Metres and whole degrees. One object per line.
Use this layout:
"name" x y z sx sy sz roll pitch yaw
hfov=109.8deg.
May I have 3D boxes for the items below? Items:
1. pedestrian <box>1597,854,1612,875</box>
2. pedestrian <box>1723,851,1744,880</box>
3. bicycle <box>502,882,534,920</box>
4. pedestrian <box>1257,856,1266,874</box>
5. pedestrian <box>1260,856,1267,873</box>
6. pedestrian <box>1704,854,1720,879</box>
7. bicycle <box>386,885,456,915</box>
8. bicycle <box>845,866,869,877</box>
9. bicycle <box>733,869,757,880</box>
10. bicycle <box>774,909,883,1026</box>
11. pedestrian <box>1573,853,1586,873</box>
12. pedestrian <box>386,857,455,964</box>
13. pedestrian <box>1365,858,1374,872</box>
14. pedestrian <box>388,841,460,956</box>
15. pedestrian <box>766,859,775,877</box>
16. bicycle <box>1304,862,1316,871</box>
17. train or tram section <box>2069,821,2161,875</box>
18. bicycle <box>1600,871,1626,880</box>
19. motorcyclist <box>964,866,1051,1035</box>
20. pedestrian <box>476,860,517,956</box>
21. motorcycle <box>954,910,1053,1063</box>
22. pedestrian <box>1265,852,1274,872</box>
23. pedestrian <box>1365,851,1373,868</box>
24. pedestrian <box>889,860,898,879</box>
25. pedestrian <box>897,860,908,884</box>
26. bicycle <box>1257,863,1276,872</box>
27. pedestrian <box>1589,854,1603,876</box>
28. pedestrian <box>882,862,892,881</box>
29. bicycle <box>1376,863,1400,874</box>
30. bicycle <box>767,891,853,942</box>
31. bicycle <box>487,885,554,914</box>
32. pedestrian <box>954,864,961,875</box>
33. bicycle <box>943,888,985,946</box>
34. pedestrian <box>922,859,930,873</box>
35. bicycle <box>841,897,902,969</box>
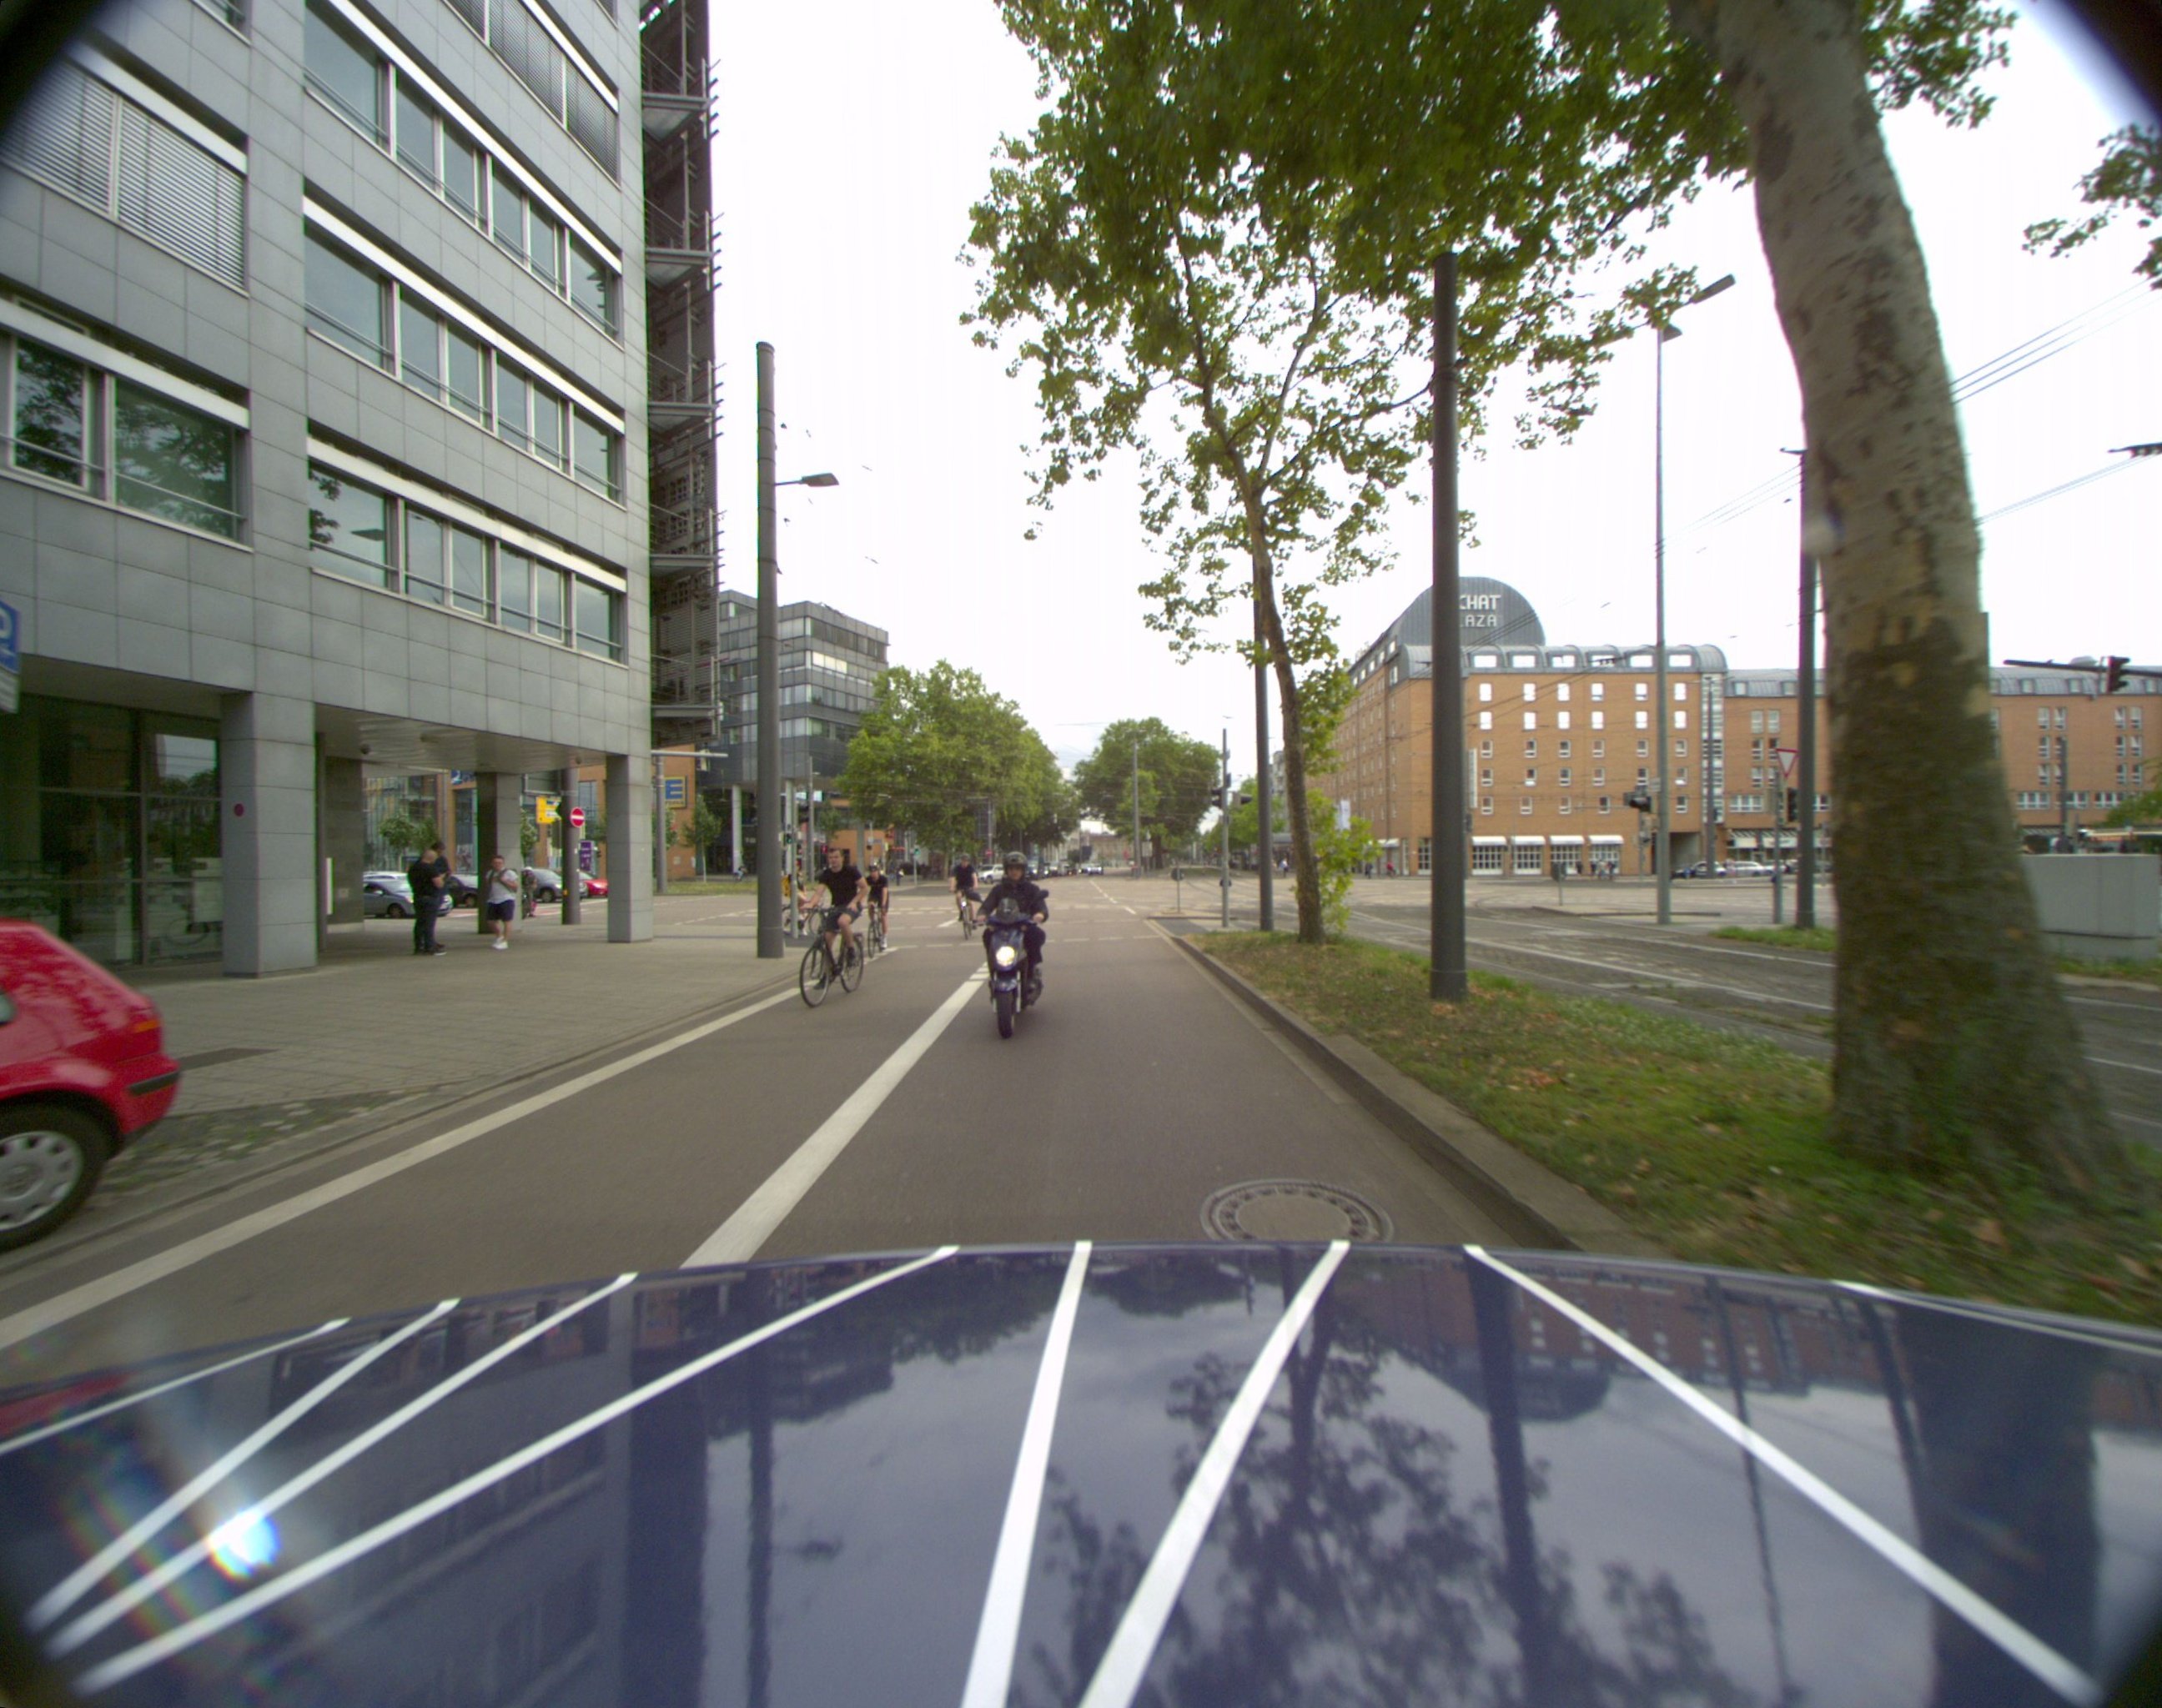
"pedestrian" 41.844 0.828 60.742 0.578 1.722 0.750 0 1 -6
"pedestrian" 39.662 0.696 46.193 0.578 1.722 0.751 0 1 -1
"bicycle" -19.515 1.593 26.327 0.662 1.132 2.432 -2 3 -41
"pedestrian" 17.952 1.084 75.623 0.684 1.696 0.534 0 1 -8
"pedestrian" 18.557 1.062 77.213 0.564 1.696 0.534 0 1 -8
"pedestrian" 45.002 0.879 54.197 0.632 1.722 0.578 -1 1 -10
"bicycle" -25.385 1.757 29.234 2.218 1.050 0.750 0 2 11
"bicycle" -20.673 1.633 70.221 2.002 1.005 0.638 0 0 8
"bicycle" -31.218 1.871 70.547 2.002 1.005 0.638 0 1 8
"bicycle" -3.009 1.305 9.280 0.595 1.132 2.091 0 0 1
"pedestrian" 41.817 0.756 63.768 0.578 1.721 0.751 -1 0 -6
"pedestrian" -10.874 0.915 12.532 0.546 1.716 0.644 0 -1 12
"pedestrian" 29.455 1.126 77.675 0.536 1.498 0.648 -1 1 -34
"pedestrian" -11.752 0.797 13.611 0.603 2.001 0.676 0 -3 7
"pedestrian" -31.517 1.417 77.119 0.627 1.855 0.671 0 0 -34
"bicycle" 25.318 1.377 83.969 0.659 0.931 1.892 0 1 -4
"train or tram section" 71.232 -0.401 49.899 9.602 3.430 2.577 0 0 -1
"bicycle" 45.979 1.848 65.640 1.796 0.777 0.640 0 1 -2
"motorcyclist" -0.692 0.891 7.442 0.761 1.510 1.017 0 1 -1
"pedestrian" -10.663 0.966 13.875 0.557 1.716 0.494 1 -1 -36
"motorcycle" -0.685 1.186 7.445 0.769 1.101 2.207 0 1 -1
"pedestrian" 18.228 0.745 73.357 0.693 1.940 0.534 0 1 -1
"pedestrian" 27.723 0.537 73.151 0.563 1.696 0.535 0 1 1
"pedestrian" -17.652 1.473 71.656 0.587 1.722 0.744 0 1 9
"pedestrian" -13.525 1.369 57.559 0.678 1.781 0.669 0 1 3
"bicycle" 18.033 1.301 73.730 1.710 0.883 0.499 0 1 4
"pedestrian" 41.183 0.876 60.738 0.578 1.722 0.750 0 1 -6
"pedestrian" -17.012 1.547 66.641 0.587 1.642 0.744 0 1 9
"bicycle" 29.010 1.363 71.759 2.056 1.002 0.641 0 1 17
"bicycle" -6.557 1.487 18.389 1.900 1.132 0.727 0 0 18
"bicycle" -21.351 1.719 28.948 2.202 1.051 0.684 0 3 11
"pedestrian" -16.588 2.099 102.149 0.586 1.502 0.683 0 2 25
"bicycle" -2.575 1.359 16.862 0.595 1.132 1.858 0 0 1
"pedestrian" -19.537 1.534 95.995 0.586 1.722 0.745 1 1 44
"bicycle" -3.771 1.389 13.779 0.595 1.132 1.735 0 0 1
